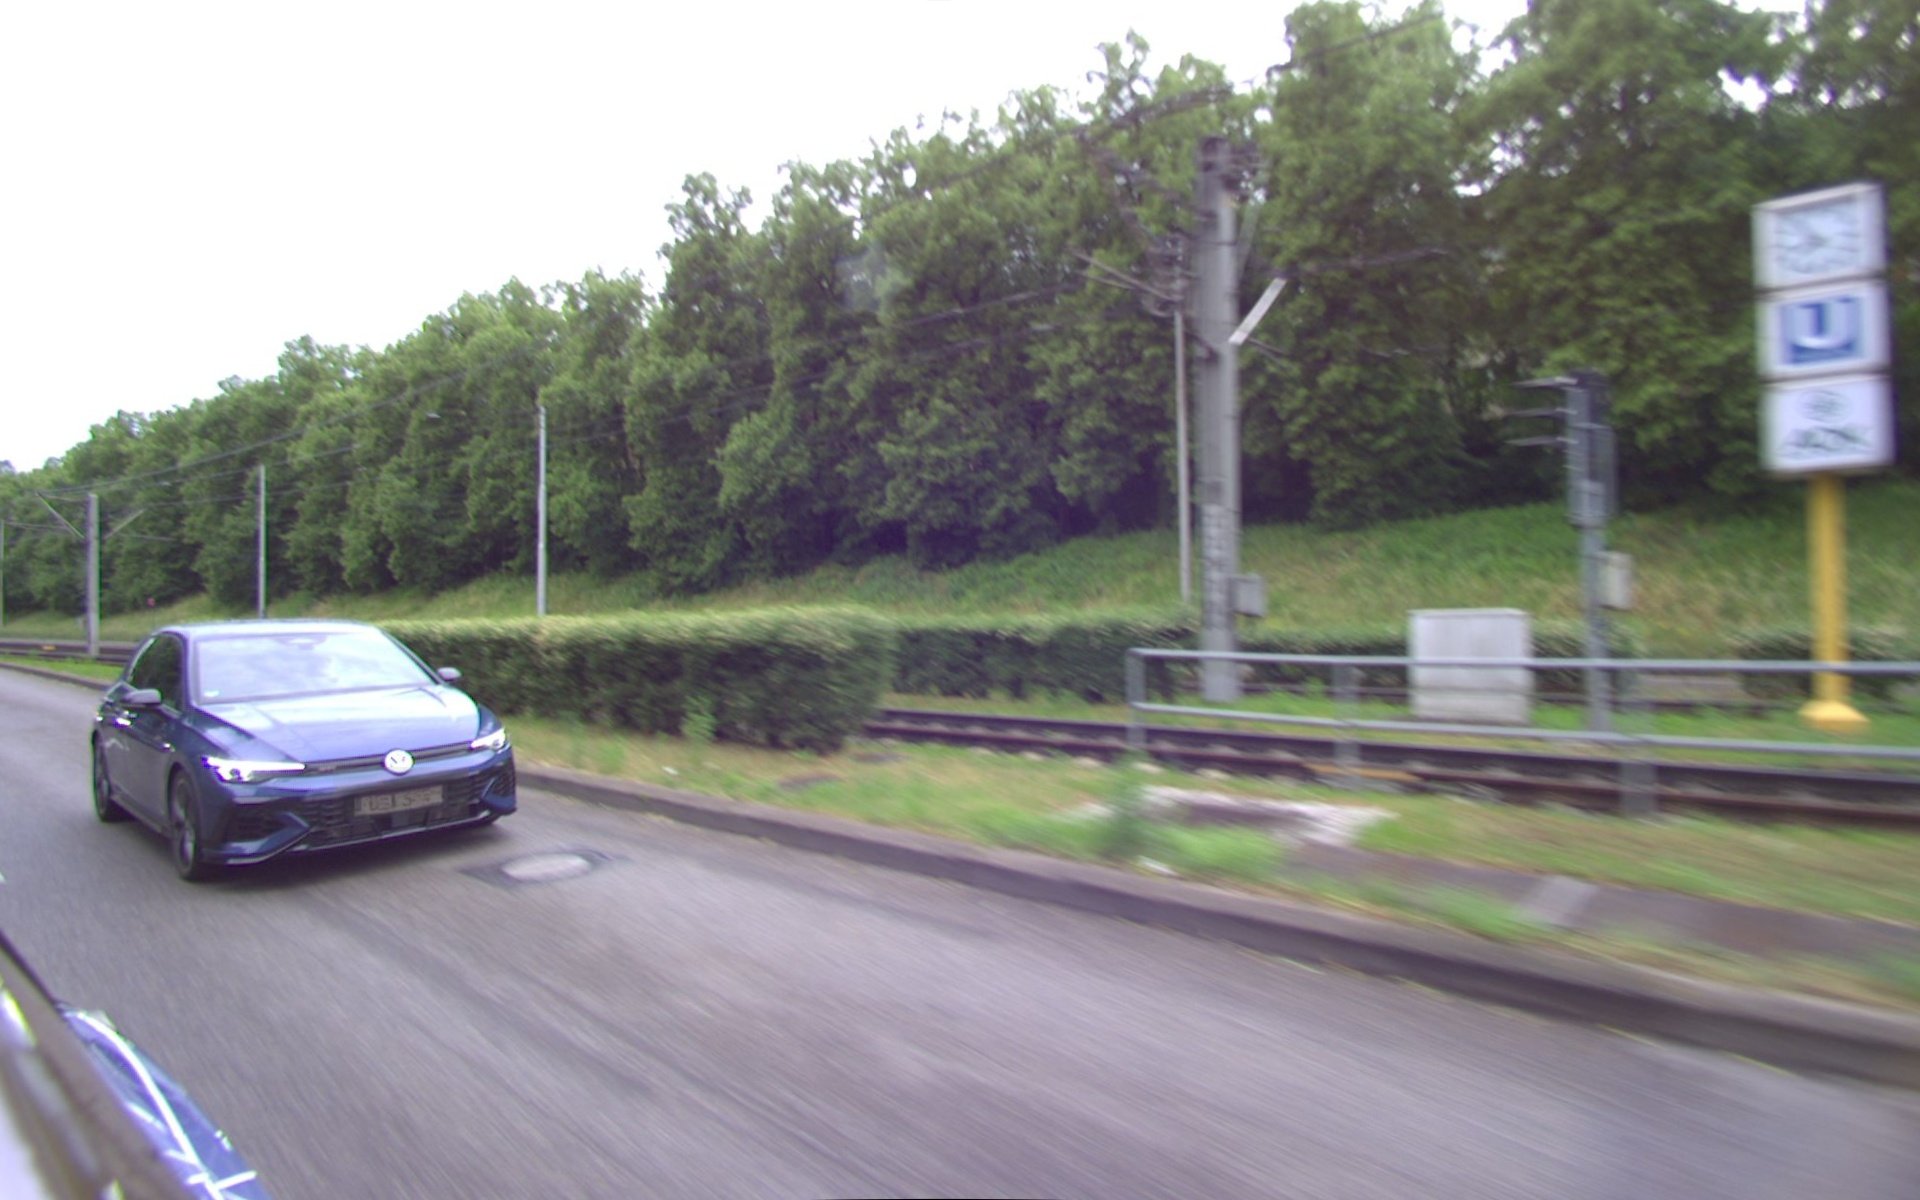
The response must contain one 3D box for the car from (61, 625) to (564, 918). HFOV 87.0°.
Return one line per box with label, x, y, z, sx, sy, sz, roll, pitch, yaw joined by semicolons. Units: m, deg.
car;-4.728;0.924;7.103;4.344;1.389;1.790;-2;-1;41
